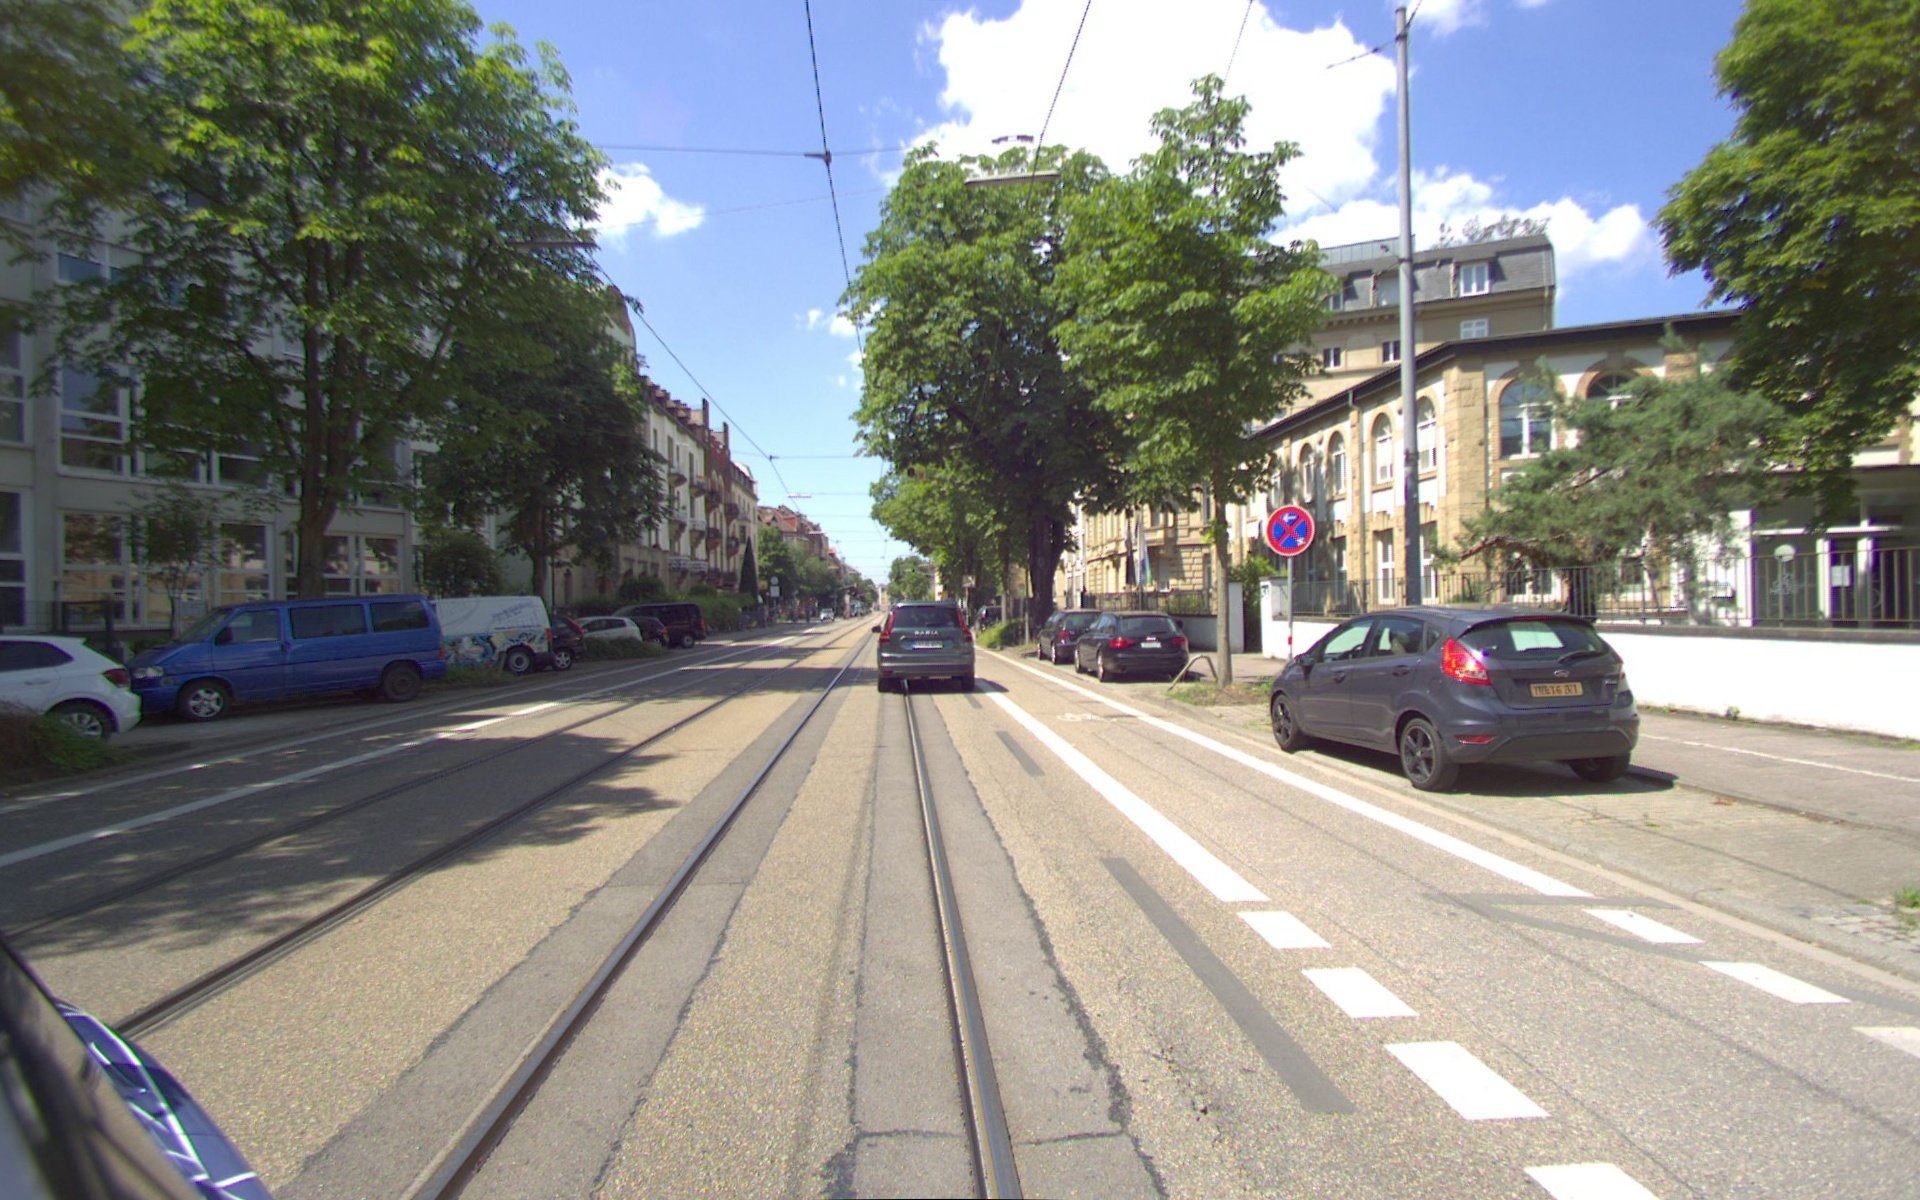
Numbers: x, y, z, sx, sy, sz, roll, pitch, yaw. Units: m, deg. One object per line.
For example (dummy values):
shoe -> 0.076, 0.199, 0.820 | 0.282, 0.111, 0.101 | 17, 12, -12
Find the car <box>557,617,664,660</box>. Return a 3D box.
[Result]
car -> -14.033, 1.520, 40.615 | 3.931, 1.519, 1.955 | -1, -1, -21

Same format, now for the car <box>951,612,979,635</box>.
car -> 0.362, 1.576, 69.360 | 1.788, 1.490, 3.997 | -2, 0, 2

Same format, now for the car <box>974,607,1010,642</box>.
car -> 1.606, 1.187, 50.306 | 1.707, 1.626, 3.997 | -2, 0, 2

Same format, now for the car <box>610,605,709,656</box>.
car -> -13.060, 1.313, 43.950 | 3.931, 2.029, 2.006 | -1, -1, -21

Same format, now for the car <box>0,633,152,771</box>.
car -> -11.341, 1.140, 10.847 | 1.713, 1.424, 3.929 | -2, -1, 39

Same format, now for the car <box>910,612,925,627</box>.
car -> -5.212, 2.321, 123.067 | 1.738, 1.732, 4.003 | -1, -1, -3

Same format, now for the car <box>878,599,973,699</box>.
car -> -0.733, 0.865, 19.031 | 1.582, 1.664, 4.004 | 0, -1, -4

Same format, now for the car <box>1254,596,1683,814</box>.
car -> 4.252, 0.786, 9.210 | 1.564, 1.467, 3.732 | -4, -1, -7

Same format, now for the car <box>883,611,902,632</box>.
car -> -5.891, 1.871, 88.598 | 1.653, 1.732, 4.003 | -1, -1, -3

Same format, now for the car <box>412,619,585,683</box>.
car -> -12.348, 1.318, 27.179 | 3.936, 1.497, 1.674 | -1, -1, -38

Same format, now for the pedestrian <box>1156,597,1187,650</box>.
pedestrian -> 6.382, 0.713, 30.593 | 0.687, 1.579, 0.745 | -1, -1, -6

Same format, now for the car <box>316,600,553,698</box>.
car -> -12.190, 1.062, 23.660 | 4.559, 2.029, 2.003 | -1, -1, -42

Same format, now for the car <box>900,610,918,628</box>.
car -> -4.966, 1.837, 98.348 | 1.738, 1.732, 4.003 | -1, -1, -3

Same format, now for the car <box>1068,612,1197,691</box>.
car -> 3.537, 1.011, 21.549 | 1.857, 1.429, 4.152 | -2, 0, -2

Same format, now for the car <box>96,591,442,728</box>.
car -> -11.743, 0.898, 17.460 | 1.999, 2.029, 4.568 | -2, -1, 41

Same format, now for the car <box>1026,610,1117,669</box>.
car -> 2.987, 1.039, 27.971 | 1.924, 1.454, 3.774 | -2, 0, -2

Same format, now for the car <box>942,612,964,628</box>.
car -> -0.704, 1.859, 94.779 | 1.811, 1.497, 4.002 | -2, -1, -3

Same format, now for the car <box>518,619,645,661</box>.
car -> -13.639, 1.437, 36.648 | 1.749, 1.397, 3.947 | 1, -2, 39
